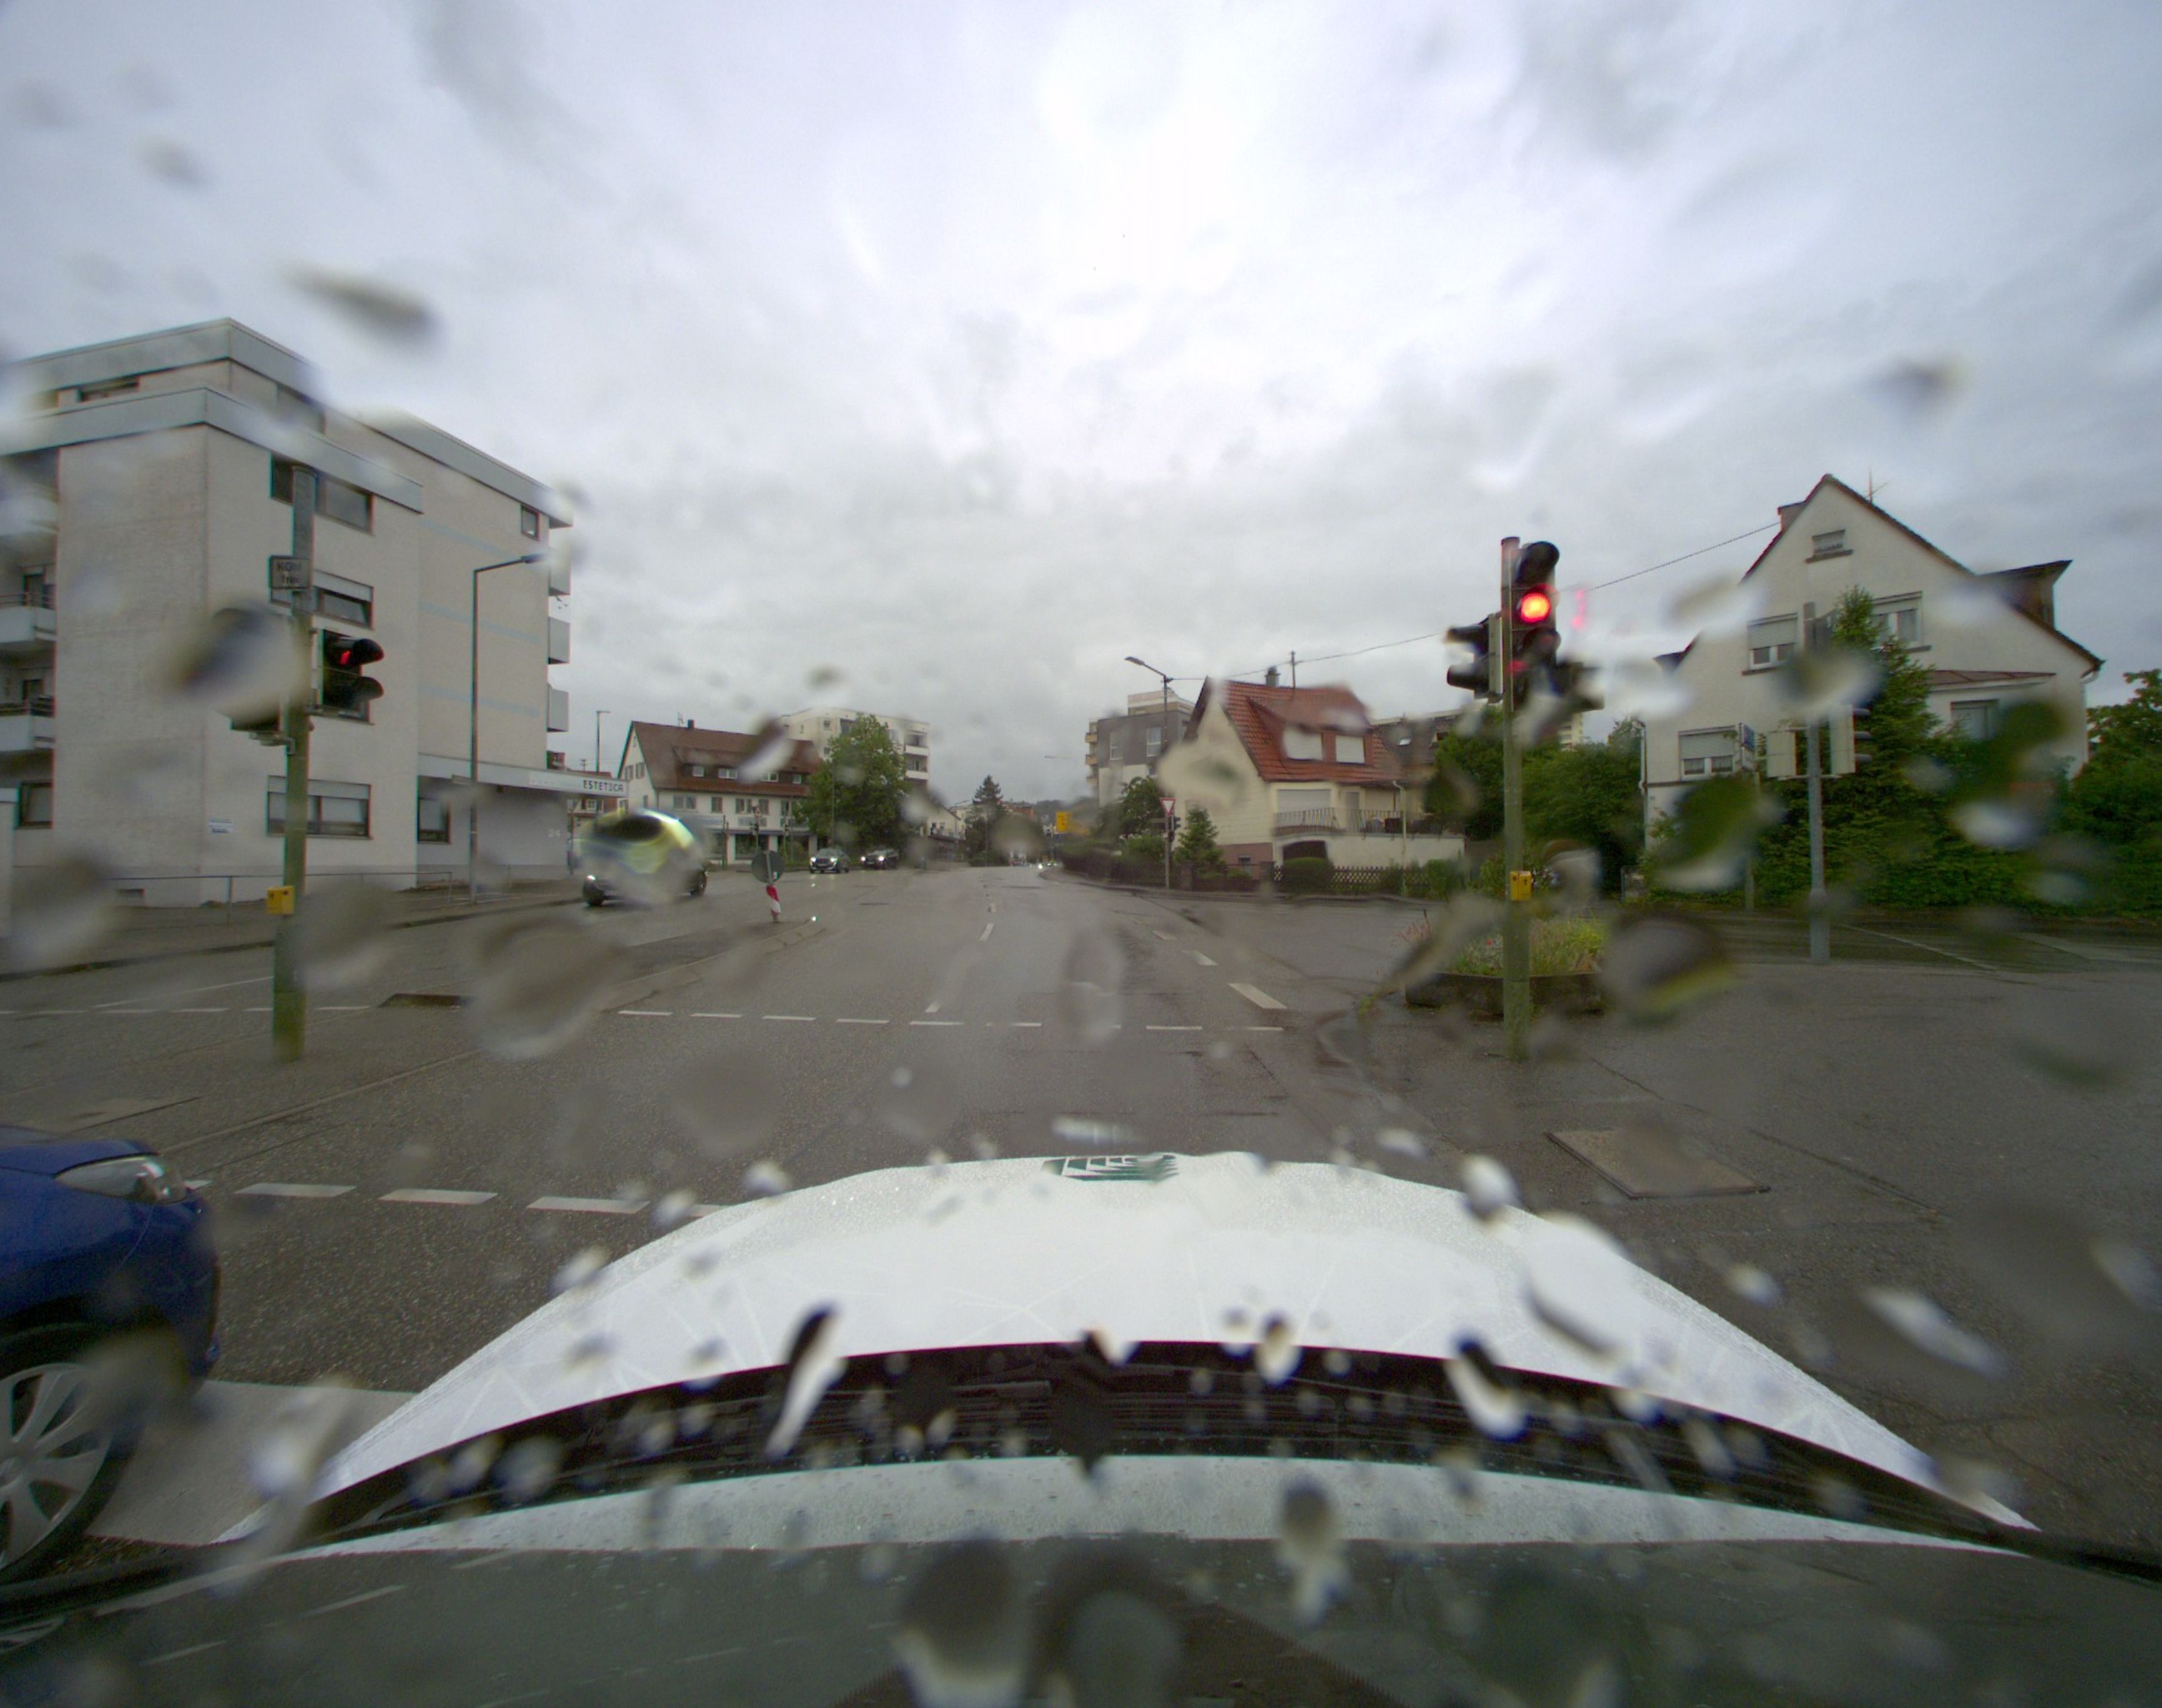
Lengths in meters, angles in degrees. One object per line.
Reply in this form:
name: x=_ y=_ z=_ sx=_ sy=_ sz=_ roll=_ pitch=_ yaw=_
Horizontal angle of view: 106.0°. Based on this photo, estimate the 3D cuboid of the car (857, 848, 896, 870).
car: x=-15.631 y=0.365 z=62.361 sx=1.873 sy=1.597 sz=4.184 roll=0 pitch=-1 yaw=0

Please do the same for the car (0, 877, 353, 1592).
car: x=-2.956 y=0.787 z=0.735 sx=1.499 sy=1.413 sz=3.365 roll=0 pitch=0 yaw=2

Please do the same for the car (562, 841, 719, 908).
car: x=-11.843 y=0.526 z=22.297 sx=1.989 sy=1.625 sz=4.534 roll=0 pitch=0 yaw=-3

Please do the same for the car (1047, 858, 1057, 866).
car: x=-6.500 y=1.880 z=181.993 sx=1.990 sy=1.737 sz=5.173 roll=0 pitch=0 yaw=-4

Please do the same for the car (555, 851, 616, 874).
car: x=-41.224 y=0.669 z=67.809 sx=4.093 sy=1.843 sz=1.864 roll=0 pitch=-1 yaw=-44

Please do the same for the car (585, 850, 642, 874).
car: x=-38.450 y=0.629 z=66.987 sx=3.706 sy=1.920 sz=1.864 roll=0 pitch=-1 yaw=-44

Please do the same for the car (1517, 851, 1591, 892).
car: x=17.105 y=0.596 z=29.382 sx=1.794 sy=1.362 sz=4.025 roll=-1 pitch=-1 yaw=37

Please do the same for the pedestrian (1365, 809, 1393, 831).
pedestrian: x=12.764 y=-1.436 z=34.867 sx=0.918 sy=0.883 sz=0.632 roll=0 pitch=-3 yaw=-18

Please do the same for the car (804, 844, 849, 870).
car: x=-15.450 y=0.206 z=49.628 sx=1.966 sy=1.512 sz=3.989 roll=0 pitch=-1 yaw=-8
